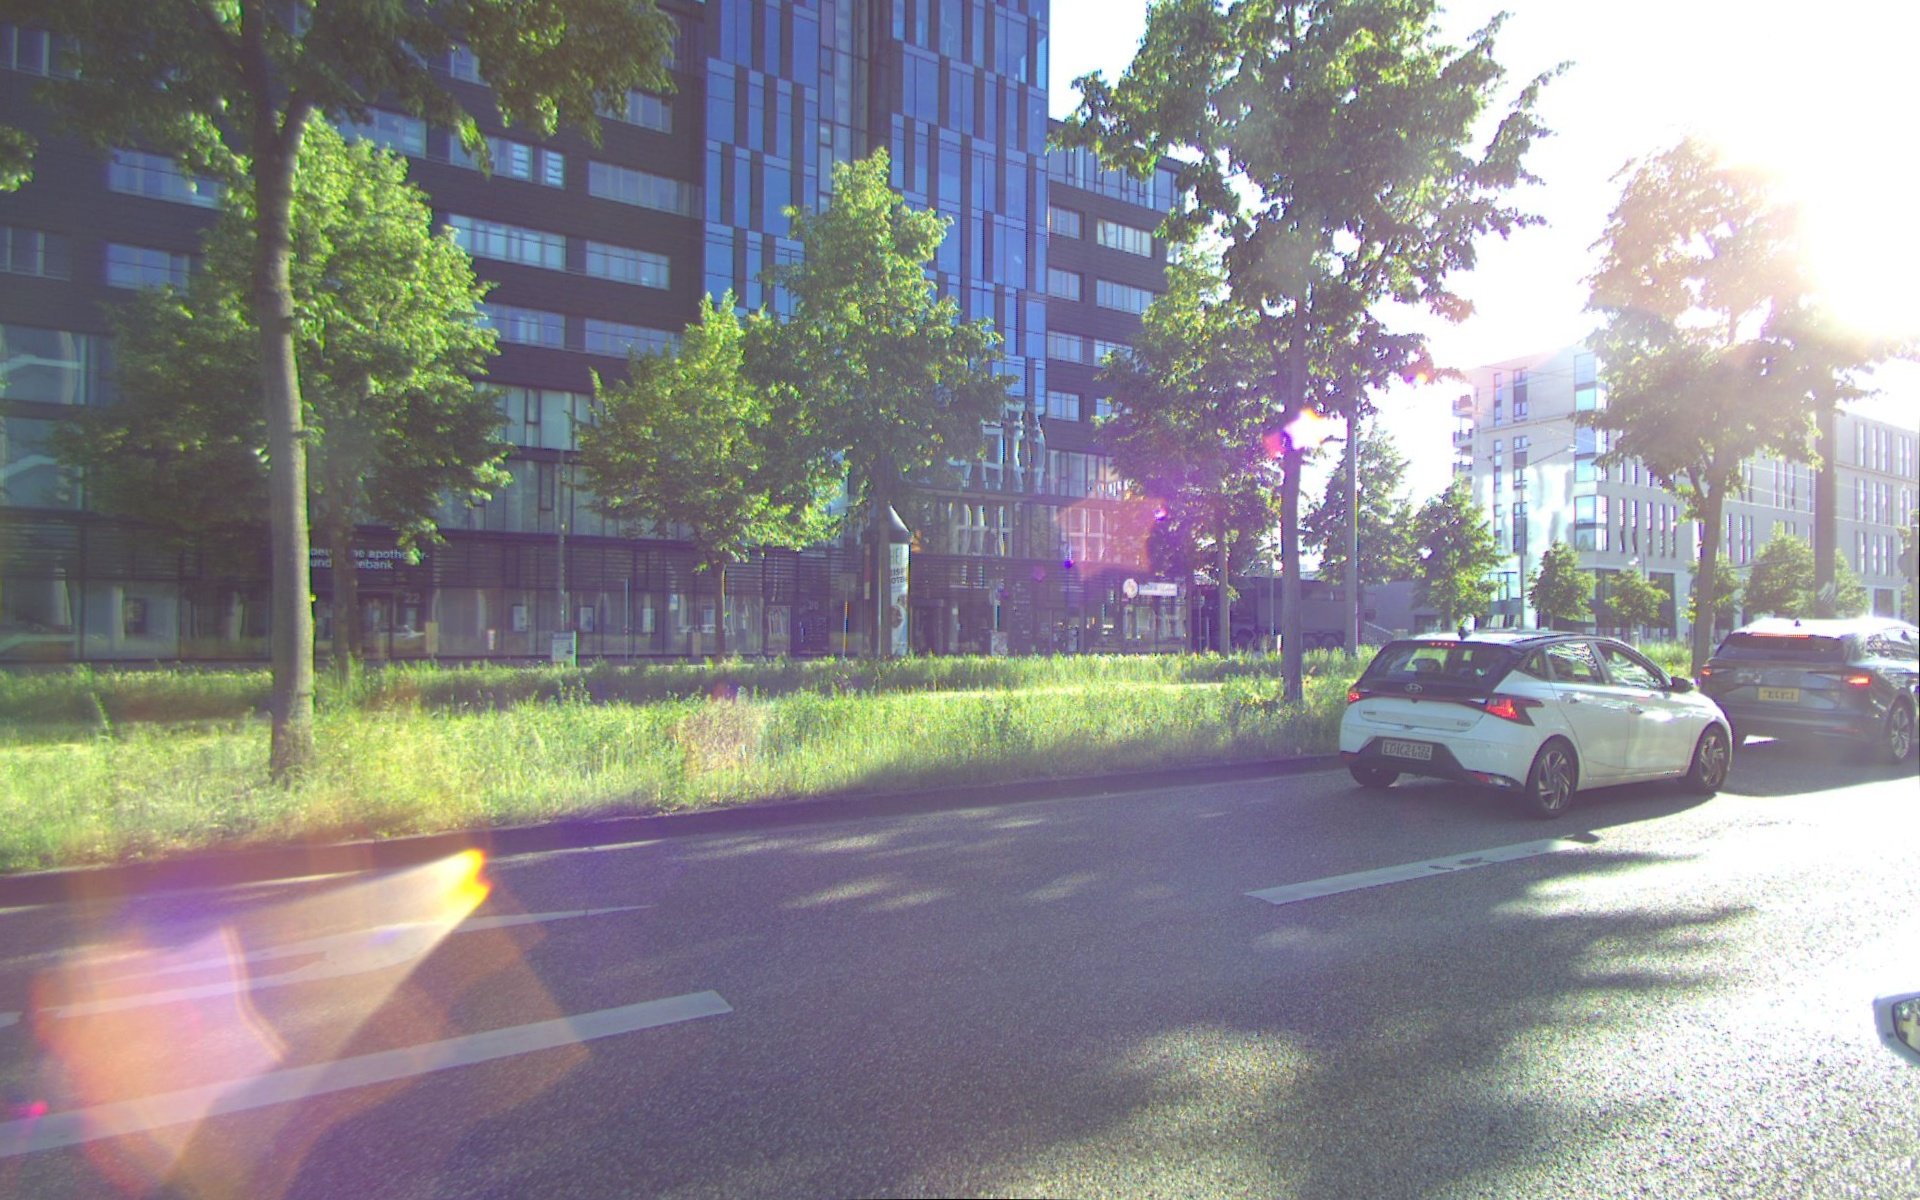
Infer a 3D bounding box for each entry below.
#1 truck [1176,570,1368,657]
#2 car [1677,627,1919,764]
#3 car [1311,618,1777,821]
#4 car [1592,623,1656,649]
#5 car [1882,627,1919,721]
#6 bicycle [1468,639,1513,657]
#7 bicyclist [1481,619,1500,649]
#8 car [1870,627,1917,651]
[{"bbox_3d":[15.266,0.727,48.686,10.095,3.904,2.877,2,-1,-31],"label":"truck"},{"bbox_3d":[11.147,1.095,12.649,4.515,1.466,1.790,1,-2,-31],"label":"car"},{"bbox_3d":[5.481,0.938,9.262,4.516,1.466,1.790,2,-1,-31],"label":"car"},{"bbox_3d":[41.081,2.241,62.121,3.953,1.540,1.756,1,-1,-30],"label":"car"},{"bbox_3d":[17.795,1.293,17.246,4.520,1.503,1.788,2,2,-33],"label":"car"},{"bbox_3d":[37.930,3.394,71.856,0.808,1.206,2.930,1,-1,-28],"label":"bicycle"},{"bbox_3d":[37.949,2.434,71.881,0.808,2.120,0.936,1,-1,-29],"label":"bicyclist"},{"bbox_3d":[81.610,3.385,87.795,3.953,2.040,1.984,2,-1,-30],"label":"car"}]
